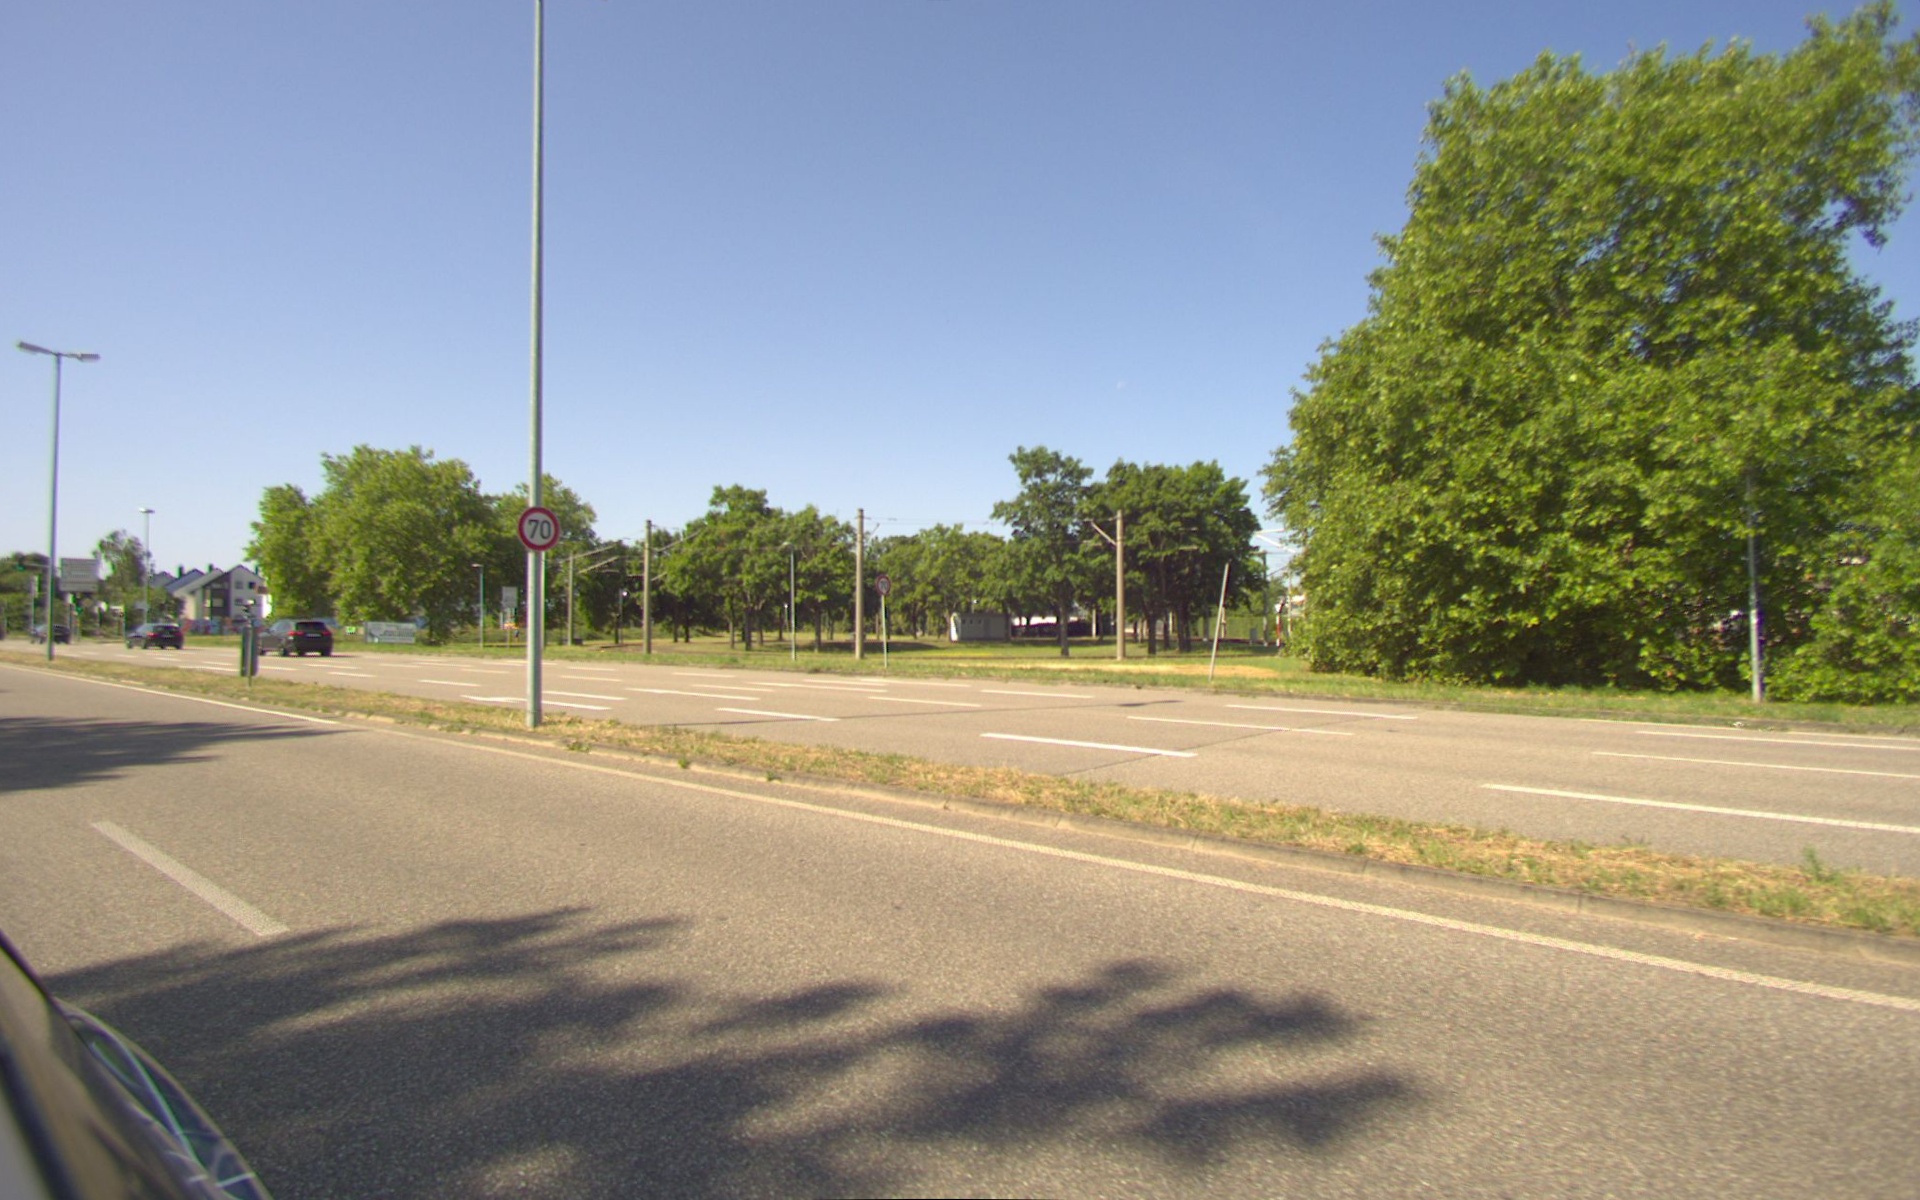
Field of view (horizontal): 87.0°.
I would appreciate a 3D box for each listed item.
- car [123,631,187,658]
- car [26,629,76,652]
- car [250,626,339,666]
[{"bbox_3d":[-45.938,2.502,57.733,4.463,1.476,1.813,-1,-2,38],"label":"car"},{"bbox_3d":[-65.579,2.915,72.996,4.399,1.557,1.845,-1,-3,37],"label":"car"},{"bbox_3d":[-29.657,2.015,45.084,4.549,1.672,1.963,-1,-3,38],"label":"car"}]
